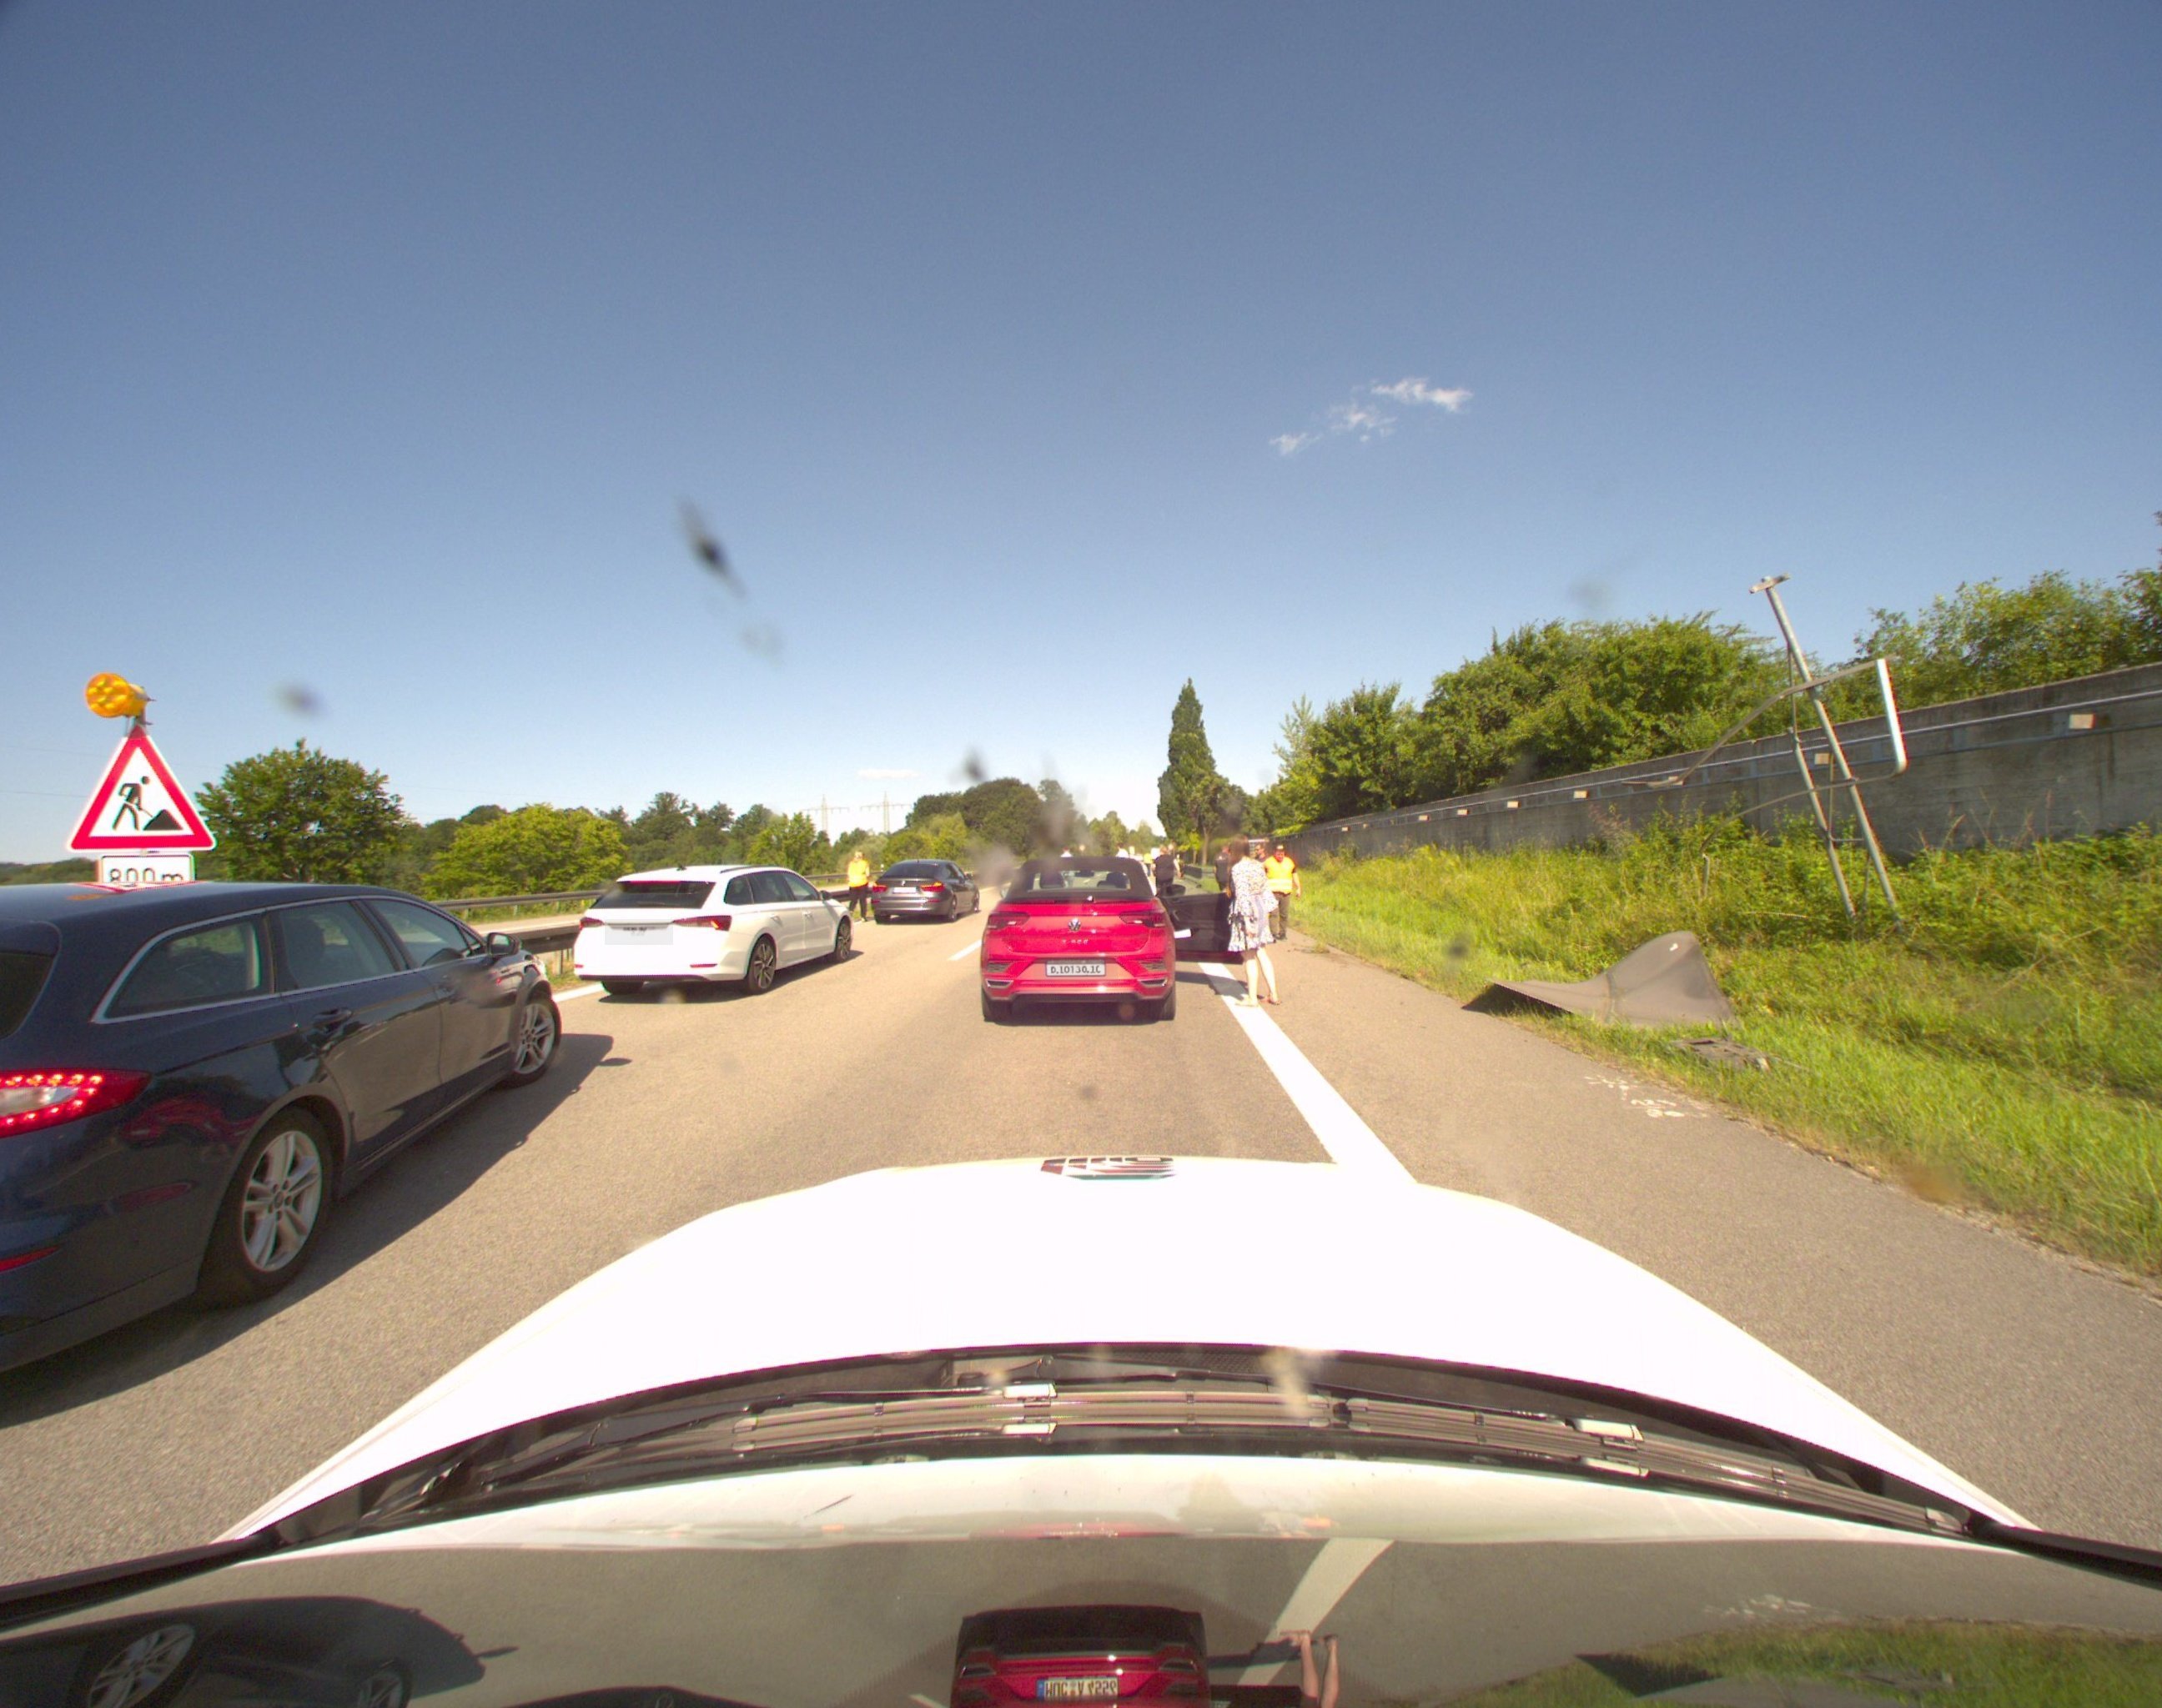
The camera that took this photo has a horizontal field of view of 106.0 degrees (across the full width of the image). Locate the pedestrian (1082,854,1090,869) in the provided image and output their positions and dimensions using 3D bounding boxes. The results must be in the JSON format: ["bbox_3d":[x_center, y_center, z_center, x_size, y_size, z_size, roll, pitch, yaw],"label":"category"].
[{"bbox_3d":[0.511,0.850,90.125,0.787,1.689,0.794,0,-1,7],"label":"pedestrian"}]

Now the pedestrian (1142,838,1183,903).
[{"bbox_3d":[2.456,0.483,24.661,1.086,1.883,1.069,-3,0,1],"label":"pedestrian"}]

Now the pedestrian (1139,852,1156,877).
[{"bbox_3d":[4.519,0.726,55.239,1.049,1.689,1.020,-1,-1,9],"label":"pedestrian"}]

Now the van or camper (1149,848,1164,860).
[{"bbox_3d":[14.899,-0.019,160.886,1.977,2.316,4.491,-1,-1,18],"label":"van or camper"}]

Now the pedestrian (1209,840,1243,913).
[{"bbox_3d":[3.601,0.543,20.192,0.806,1.759,0.831,0,-1,12],"label":"pedestrian"}]

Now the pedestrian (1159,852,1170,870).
[{"bbox_3d":[7.777,0.682,75.927,0.991,1.689,1.012,0,-1,6],"label":"pedestrian"}]

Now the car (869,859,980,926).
[{"bbox_3d":[-3.724,0.870,20.100,1.688,1.426,4.337,-1,0,3],"label":"car"}]

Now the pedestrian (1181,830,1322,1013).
[{"bbox_3d":[1.706,0.632,8.300,0.893,1.695,1.121,-2,0,-20],"label":"pedestrian"}]

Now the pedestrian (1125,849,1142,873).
[{"bbox_3d":[3.851,0.522,59.600,1.113,1.689,0.971,0,-1,-8],"label":"pedestrian"}]

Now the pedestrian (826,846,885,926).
[{"bbox_3d":[-5.239,0.722,19.003,1.038,1.763,1.117,-2,0,-2],"label":"pedestrian"}]

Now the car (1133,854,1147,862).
[{"bbox_3d":[11.830,0.843,162.098,1.718,1.487,4.231,-1,0,19],"label":"car"}]

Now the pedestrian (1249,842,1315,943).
[{"bbox_3d":[3.484,0.647,14.228,0.952,1.653,1.281,-2,0,9],"label":"pedestrian"}]

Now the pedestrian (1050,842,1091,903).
[{"bbox_3d":[-0.310,0.547,24.615,1.098,1.789,1.093,0,-1,6],"label":"pedestrian"}]

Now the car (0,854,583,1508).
[{"bbox_3d":[-3.976,0.810,3.728,1.792,1.493,4.466,-2,0,-17],"label":"car"}]

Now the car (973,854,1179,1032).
[{"bbox_3d":[0.058,0.751,8.956,1.725,1.487,4.213,-1,0,3],"label":"car"}]

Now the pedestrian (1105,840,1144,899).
[{"bbox_3d":[1.439,0.503,27.239,1.104,1.912,1.255,-2,0,-5],"label":"pedestrian"}]

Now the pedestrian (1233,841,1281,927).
[{"bbox_3d":[3.625,0.613,16.865,0.890,1.725,0.756,0,-1,6],"label":"pedestrian"}]

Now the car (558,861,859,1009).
[{"bbox_3d":[-4.340,0.835,10.322,1.688,1.441,4.213,-1,0,3],"label":"car"}]
